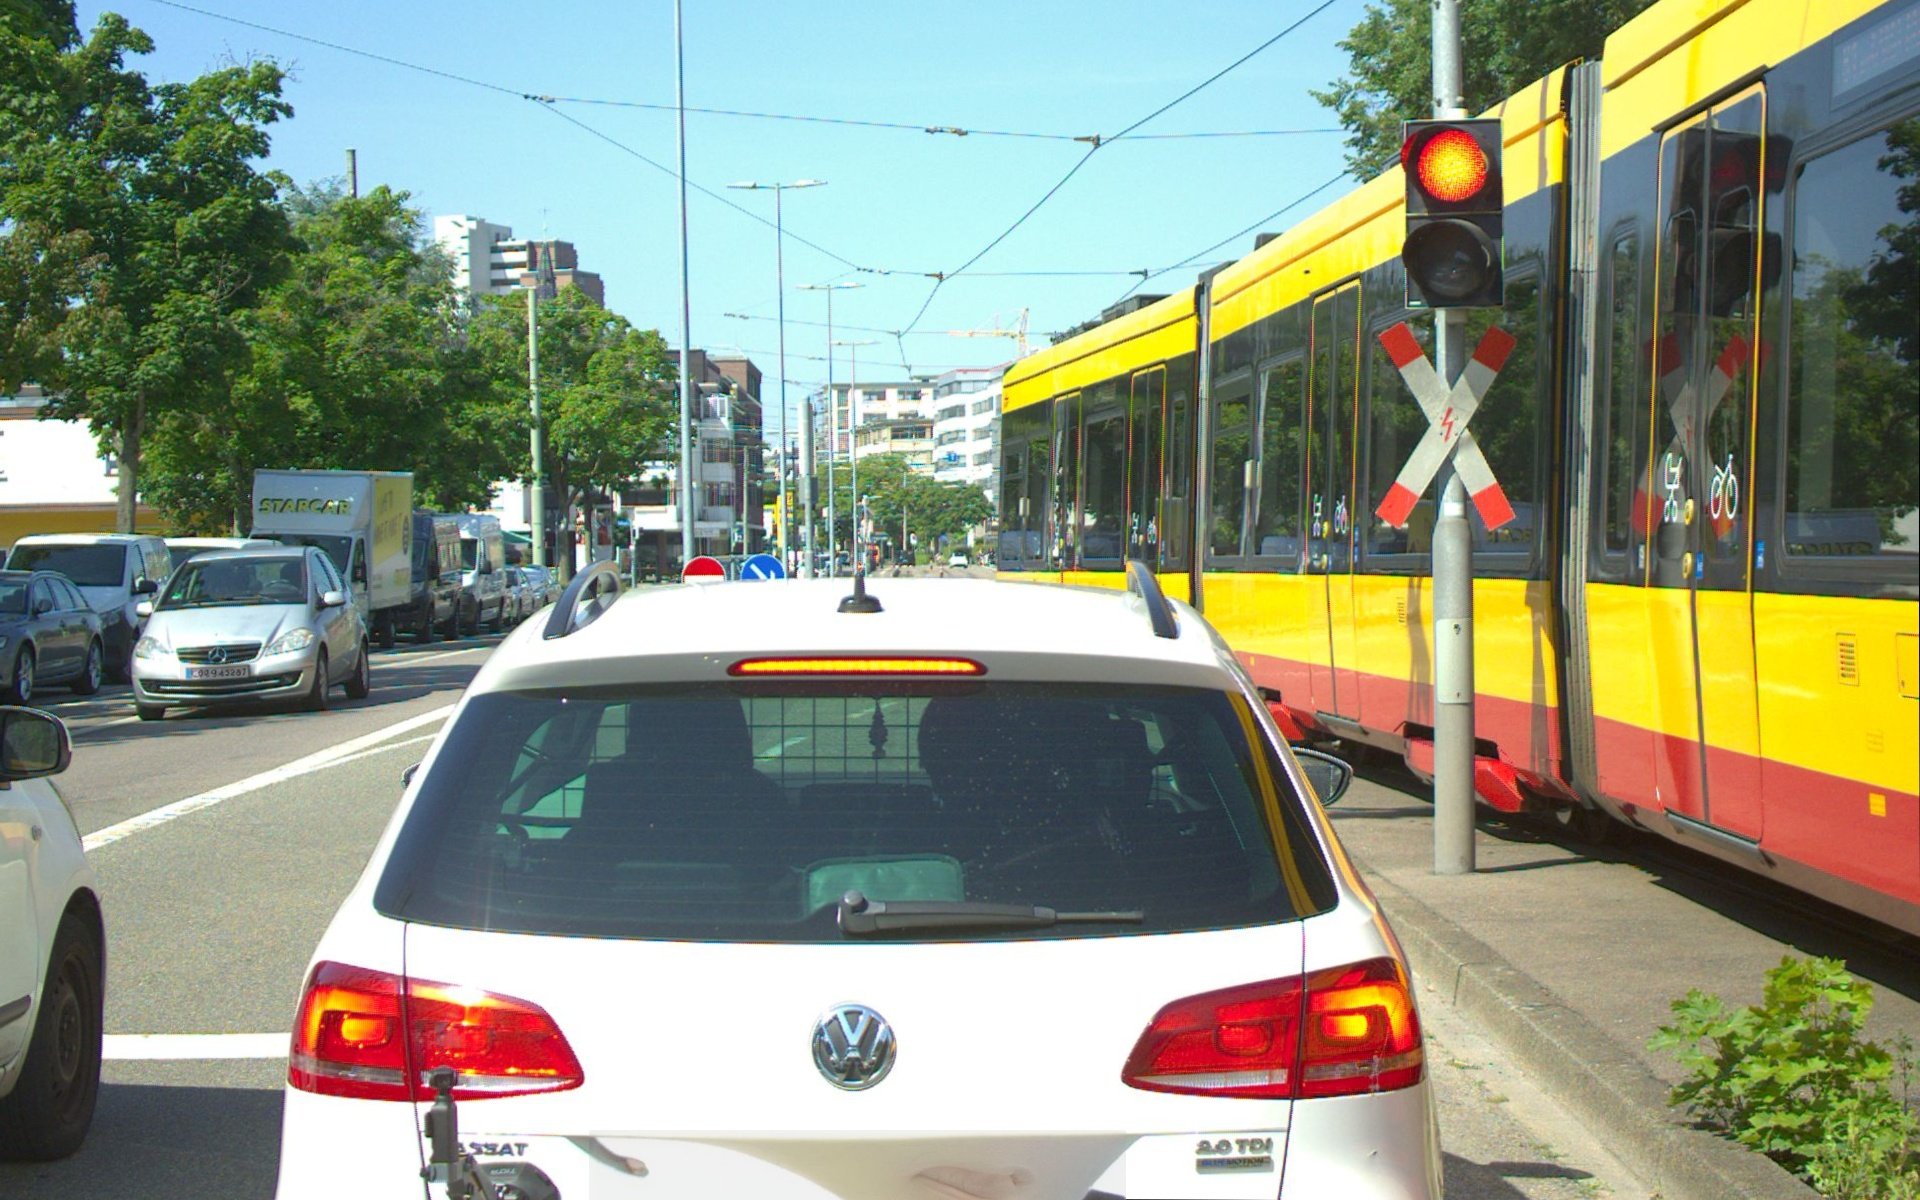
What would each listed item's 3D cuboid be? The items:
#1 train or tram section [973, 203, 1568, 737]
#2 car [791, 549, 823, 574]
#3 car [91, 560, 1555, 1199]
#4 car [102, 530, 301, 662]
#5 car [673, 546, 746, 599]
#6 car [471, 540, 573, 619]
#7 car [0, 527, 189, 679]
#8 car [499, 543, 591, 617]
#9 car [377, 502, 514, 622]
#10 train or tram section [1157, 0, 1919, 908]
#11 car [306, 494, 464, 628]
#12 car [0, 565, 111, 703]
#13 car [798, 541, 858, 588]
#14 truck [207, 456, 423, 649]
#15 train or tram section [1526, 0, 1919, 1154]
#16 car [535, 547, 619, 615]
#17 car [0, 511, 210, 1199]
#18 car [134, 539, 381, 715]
[{"bbox_3d":[2.307,-1.046,30.314,2.870,3.842,10.541,-1,1,-8],"label":"train or tram section"},{"bbox_3d":[-9.598,-2.443,216.164,1.705,1.468,4.589,-2,1,1],"label":"car"},{"bbox_3d":[-0.178,0.677,6.187,1.762,1.425,4.000,-1,1,-1],"label":"car"},{"bbox_3d":[-11.374,-0.109,51.904,1.863,1.861,5.414,1,1,-1],"label":"car"},{"bbox_3d":[-7.383,-0.829,101.651,1.705,1.468,4.589,-2,1,1],"label":"car"},{"bbox_3d":[-10.773,-0.534,84.870,1.863,1.861,5.414,1,1,-1],"label":"car"},{"bbox_3d":[-11.428,-0.015,45.318,1.863,1.861,5.075,1,1,-6],"label":"car"},{"bbox_3d":[-11.024,-0.562,91.686,1.863,1.861,5.414,1,1,-1],"label":"car"},{"bbox_3d":[-11.281,-0.858,75.756,2.123,2.508,5.733,1,1,0],"label":"car"},{"bbox_3d":[3.305,-0.935,18.851,2.870,3.842,12.393,-1,1,-4],"label":"train or tram section"},{"bbox_3d":[-11.362,-0.789,68.320,2.123,2.508,5.733,1,1,0],"label":"car"},{"bbox_3d":[-11.003,0.340,38.739,1.863,1.411,4.280,1,1,-1],"label":"car"},{"bbox_3d":[-4.301,-1.175,112.614,1.705,1.468,4.589,-2,1,1],"label":"car"},{"bbox_3d":[-11.209,-0.850,60.318,2.421,3.139,6.997,1,1,0],"label":"truck"},{"bbox_3d":[3.734,-0.600,6.504,2.870,3.842,12.393,-1,1,-2],"label":"train or tram section"},{"bbox_3d":[-10.947,-0.574,98.603,1.863,1.861,5.414,1,1,-1],"label":"car"},{"bbox_3d":[-2.951,0.580,7.375,1.662,1.542,4.547,0,1,0],"label":"car"},{"bbox_3d":[-6.810,0.218,33.665,1.676,1.548,3.580,-3,1,-1],"label":"car"}]
